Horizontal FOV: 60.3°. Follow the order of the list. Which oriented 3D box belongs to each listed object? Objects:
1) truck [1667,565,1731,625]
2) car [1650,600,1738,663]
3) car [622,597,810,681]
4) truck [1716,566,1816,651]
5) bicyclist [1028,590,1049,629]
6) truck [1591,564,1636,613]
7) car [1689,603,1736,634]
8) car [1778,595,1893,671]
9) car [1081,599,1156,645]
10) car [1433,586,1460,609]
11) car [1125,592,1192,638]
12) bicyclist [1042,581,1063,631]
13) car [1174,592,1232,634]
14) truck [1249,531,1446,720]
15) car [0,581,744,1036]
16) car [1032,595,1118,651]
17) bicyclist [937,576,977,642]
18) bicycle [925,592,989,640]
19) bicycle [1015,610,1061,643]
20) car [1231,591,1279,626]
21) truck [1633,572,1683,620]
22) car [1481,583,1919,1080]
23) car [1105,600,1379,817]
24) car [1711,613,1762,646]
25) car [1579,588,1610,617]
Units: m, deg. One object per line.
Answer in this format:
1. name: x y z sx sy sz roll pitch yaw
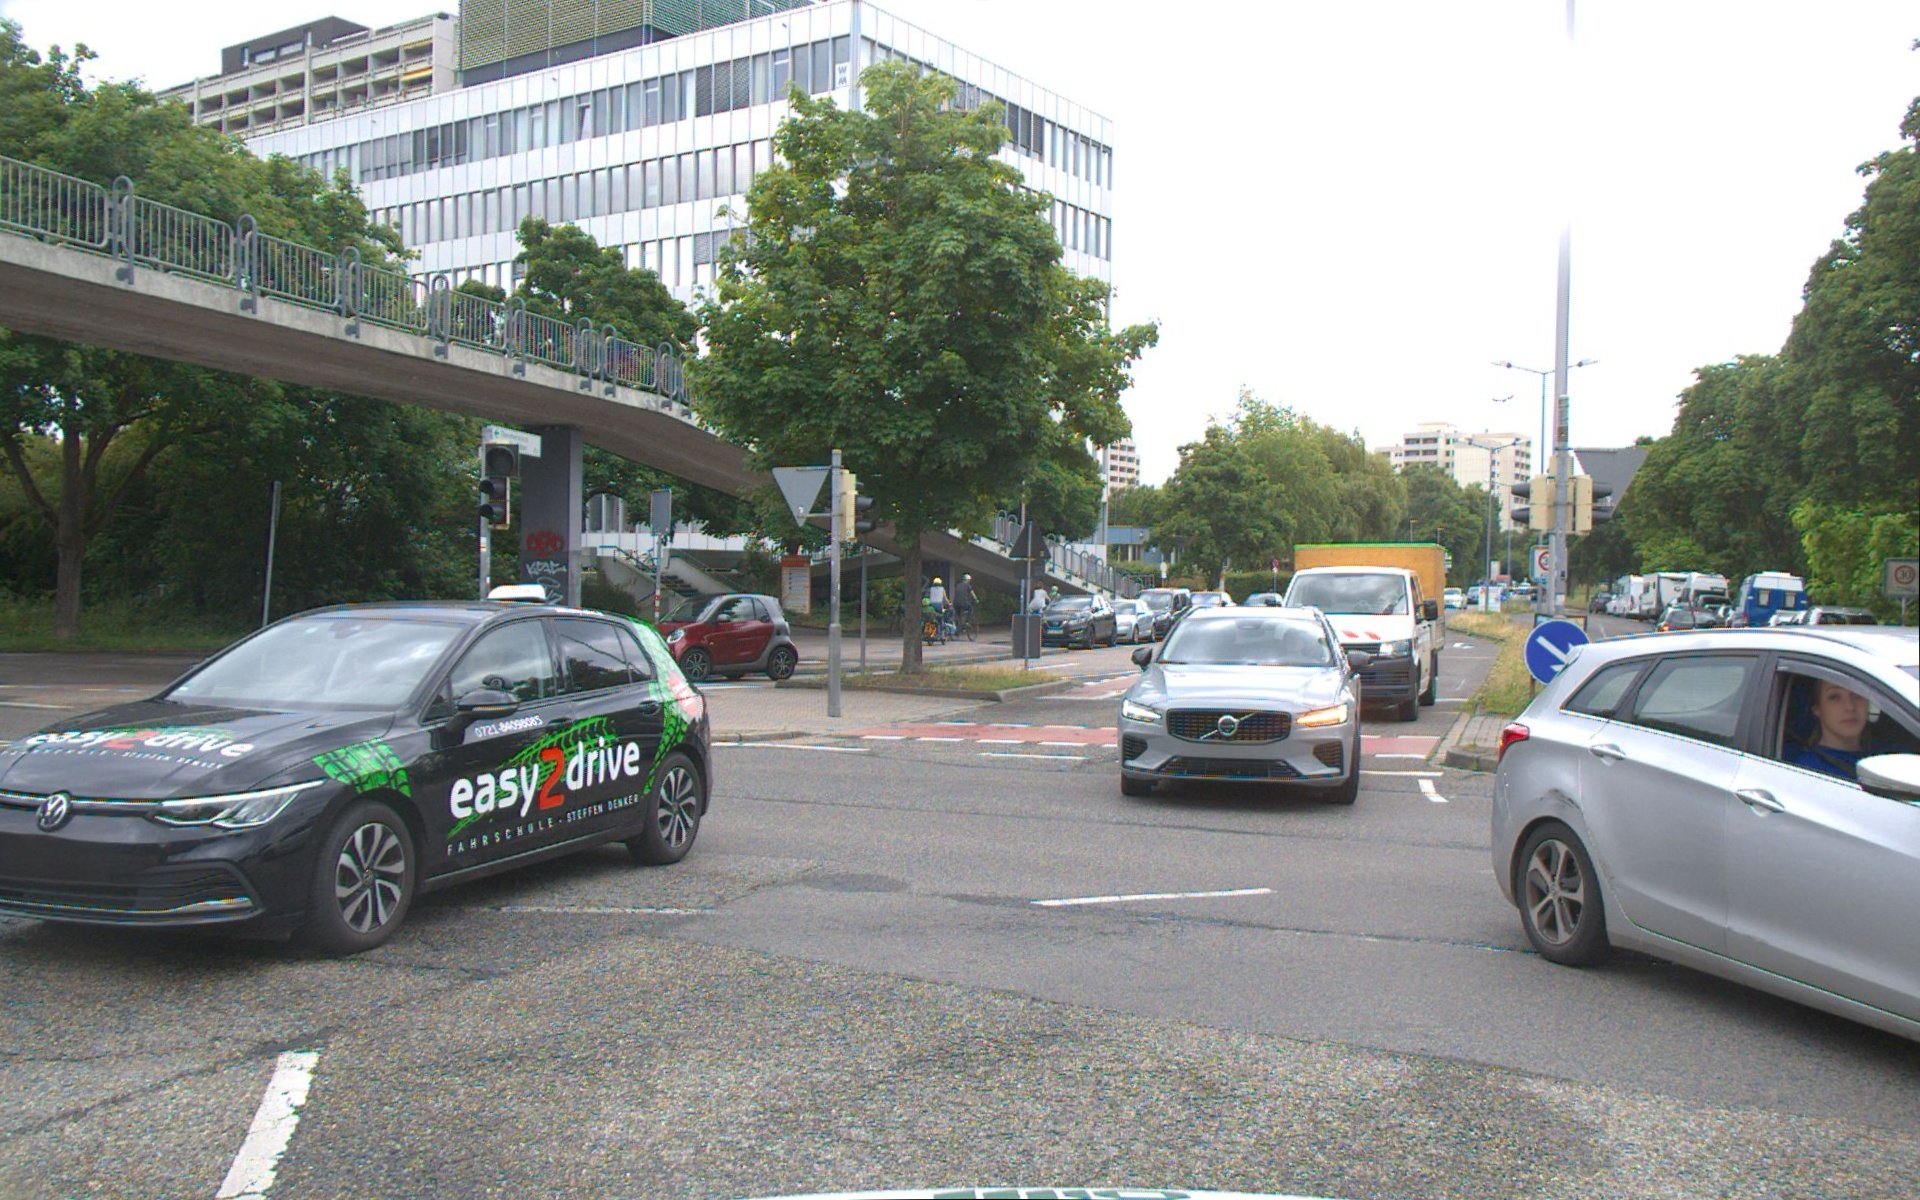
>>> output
1. truck: 37.188 -0.248 83.393 1.951 2.887 5.736 1 0 14
2. car: 19.069 0.775 43.097 1.760 1.482 4.542 1 1 20
3. car: -4.293 0.655 29.219 2.948 1.369 1.539 0 1 -43
4. truck: 27.106 0.267 55.804 2.129 2.703 6.249 0 0 18
5. bicyclist: 2.485 0.297 52.493 0.397 1.200 0.377 9 4 20
6. truck: 41.835 -0.708 105.962 1.951 3.061 5.776 1 0 15
7. car: 32.099 0.777 70.645 1.296 1.211 3.656 1 1 16
8. car: 21.139 0.754 40.080 1.746 1.691 4.002 1 1 18
9. car: 5.324 0.699 55.103 1.636 1.411 3.897 1 1 19
10. car: 35.395 -0.213 120.232 1.610 1.621 4.001 1 1 20
11. car: 7.242 0.514 60.082 1.636 1.579 3.763 1 1 19
12. bicyclist: 3.132 0.206 56.248 0.553 1.673 0.531 1 0 22
13. car: 9.848 0.494 66.846 1.636 1.579 4.002 1 1 19
14. truck: 5.495 0.259 22.816 2.110 2.237 5.843 1 1 18
15. car: -2.781 0.680 7.908 1.733 1.503 4.392 1 1 18
16. car: 3.505 0.663 49.914 1.636 1.579 3.893 1 1 19
17. bicyclist: -0.080 0.267 49.453 0.838 1.926 1.128 1 1 20
18. bicycle: -0.069 0.449 49.450 0.838 1.338 3.231 1 1 20
19. bicycle: 2.490 0.832 52.527 0.747 0.965 1.952 1 1 25
20. car: 14.149 0.375 79.208 1.636 1.579 4.002 1 1 19
21. truck: 40.102 -0.223 95.155 1.951 2.617 5.382 1 0 16
22. car: 3.764 0.734 5.940 1.757 1.545 4.314 1 1 -11
23. car: 2.570 0.760 14.087 1.856 1.445 4.740 1 1 15
24. car: 28.794 1.068 61.391 1.296 1.123 2.807 1 1 16
25. car: 46.473 0.171 121.195 1.616 1.951 3.922 1 1 14
